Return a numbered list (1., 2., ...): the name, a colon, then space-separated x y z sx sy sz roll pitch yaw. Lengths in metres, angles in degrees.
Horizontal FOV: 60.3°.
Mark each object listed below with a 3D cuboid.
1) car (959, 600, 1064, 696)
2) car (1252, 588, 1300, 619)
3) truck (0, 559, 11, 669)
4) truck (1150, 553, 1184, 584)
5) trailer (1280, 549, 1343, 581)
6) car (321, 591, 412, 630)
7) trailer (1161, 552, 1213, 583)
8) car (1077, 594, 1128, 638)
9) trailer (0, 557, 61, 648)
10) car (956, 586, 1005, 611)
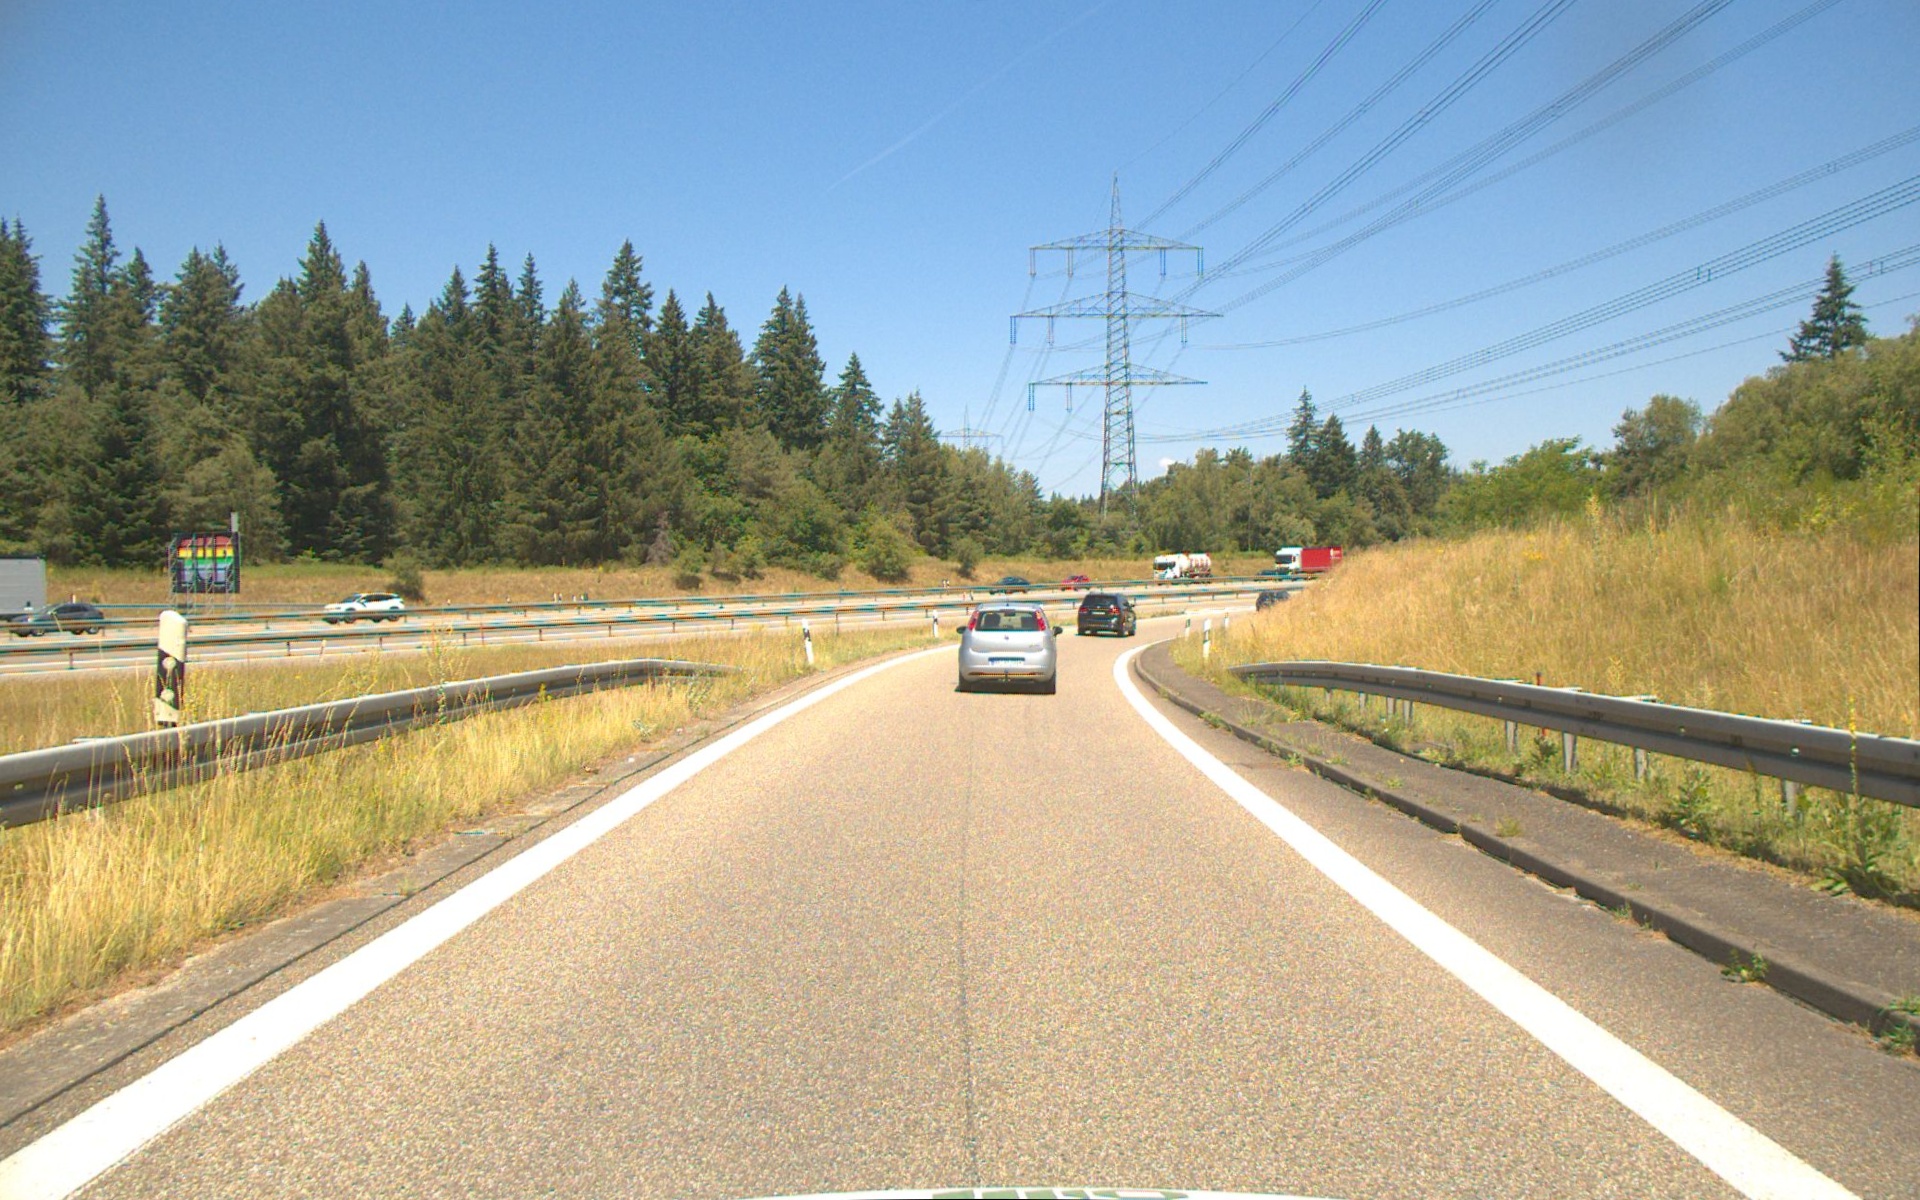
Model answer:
1. car: 0.895 0.781 28.610 1.671 1.507 3.399 1 0 2
2. car: 19.602 0.203 102.492 1.845 1.713 3.997 -3 0 26
3. truck: -35.828 0.519 57.133 2.709 3.873 4.606 1 1 35
4. truck: 26.447 -4.035 211.201 2.722 3.863 3.984 1 3 37
5. trailer: 45.452 -4.580 213.422 2.500 3.863 13.687 1 3 37
6. car: -32.849 0.565 91.595 1.961 1.880 4.342 0 3 37
7. trailer: 29.669 -4.267 215.502 2.727 3.863 8.901 1 3 37
8. car: 5.841 0.625 67.612 1.670 1.705 3.401 1 0 11
9. trailer: -51.102 0.262 79.166 2.876 4.464 14.238 -2 0 37
10. car: 1.730 -0.165 139.677 1.961 1.880 4.342 0 3 37
